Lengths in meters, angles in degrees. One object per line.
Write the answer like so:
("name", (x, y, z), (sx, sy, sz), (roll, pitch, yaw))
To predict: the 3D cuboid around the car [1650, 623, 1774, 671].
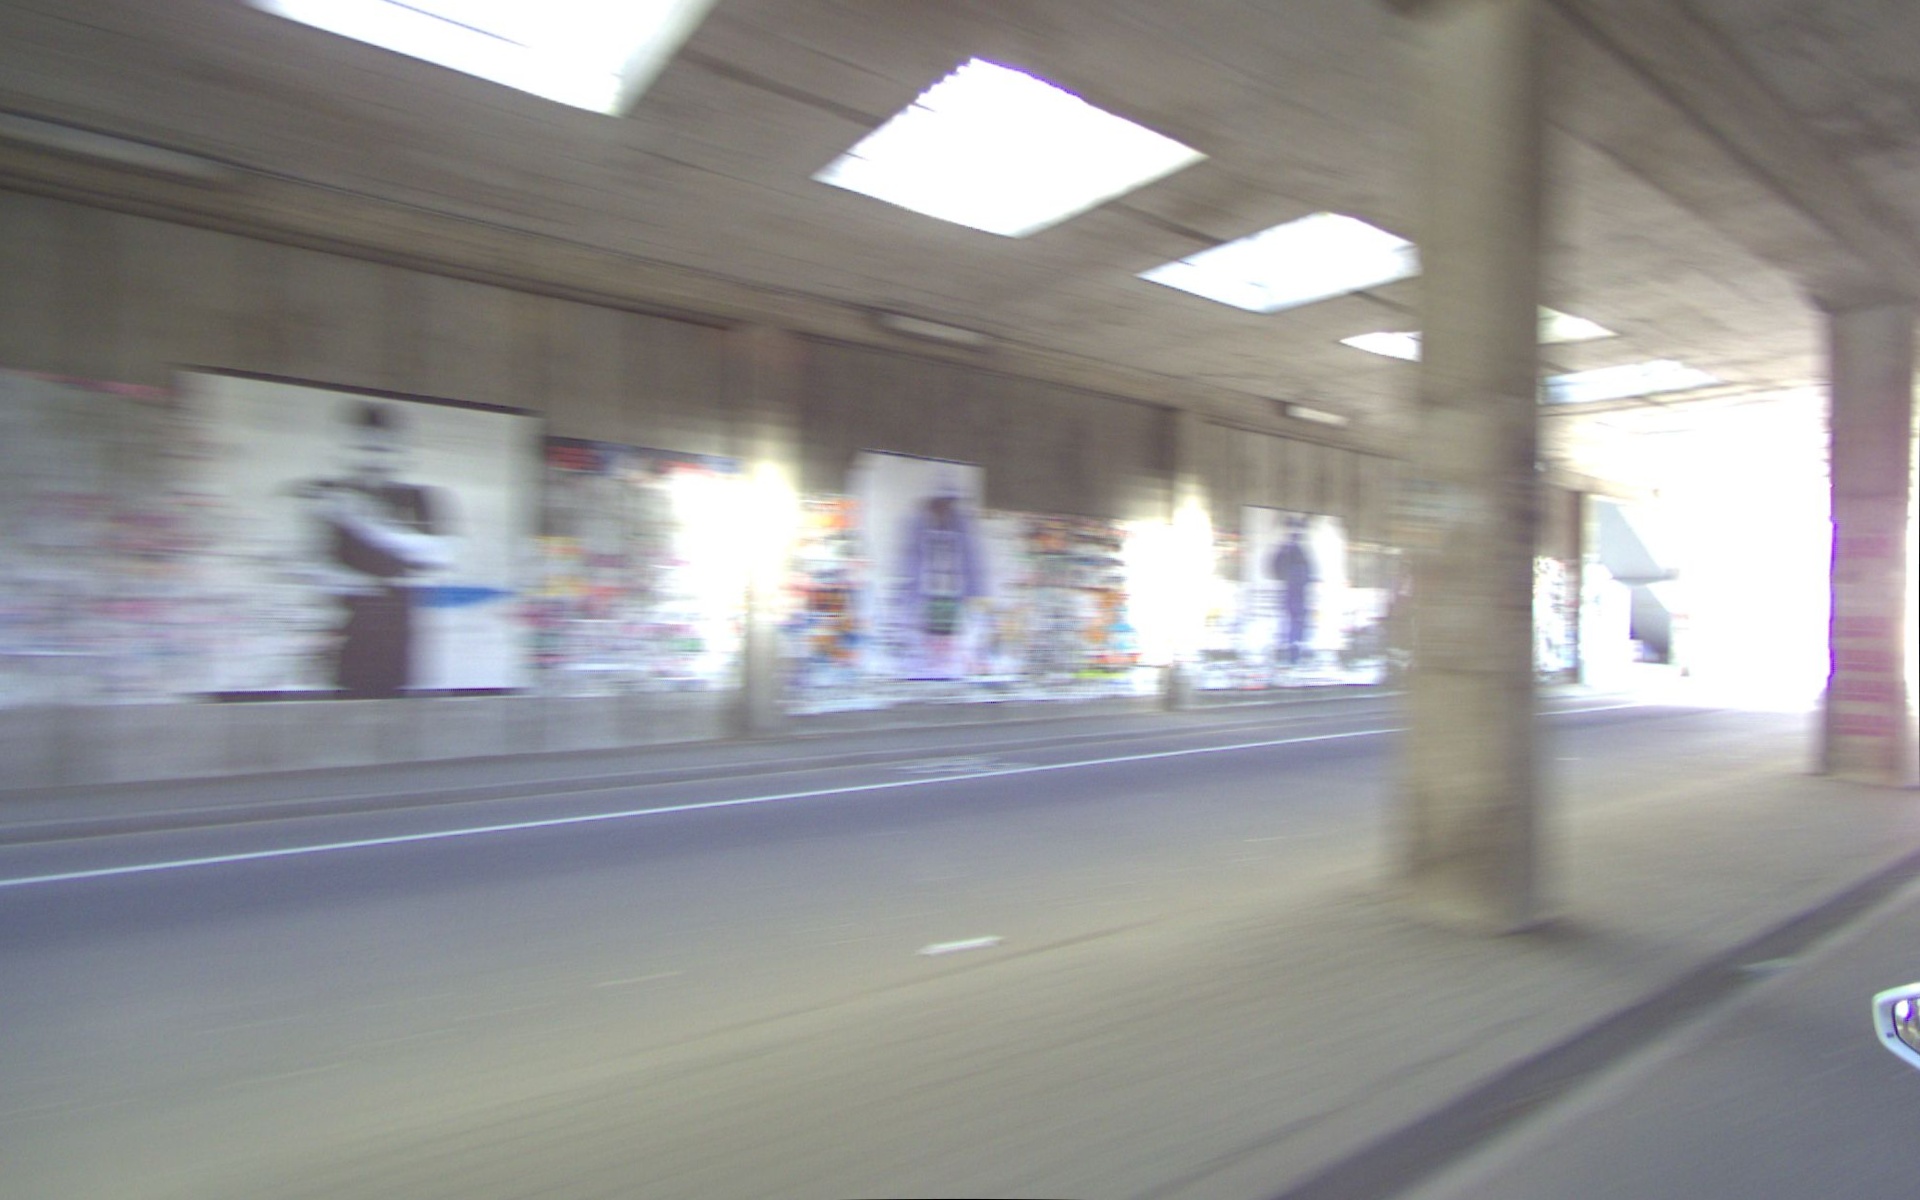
("car", (36.268, 2.218, 48.533), (1.980, 2.041, 4.449), (-1, 1, -35))
